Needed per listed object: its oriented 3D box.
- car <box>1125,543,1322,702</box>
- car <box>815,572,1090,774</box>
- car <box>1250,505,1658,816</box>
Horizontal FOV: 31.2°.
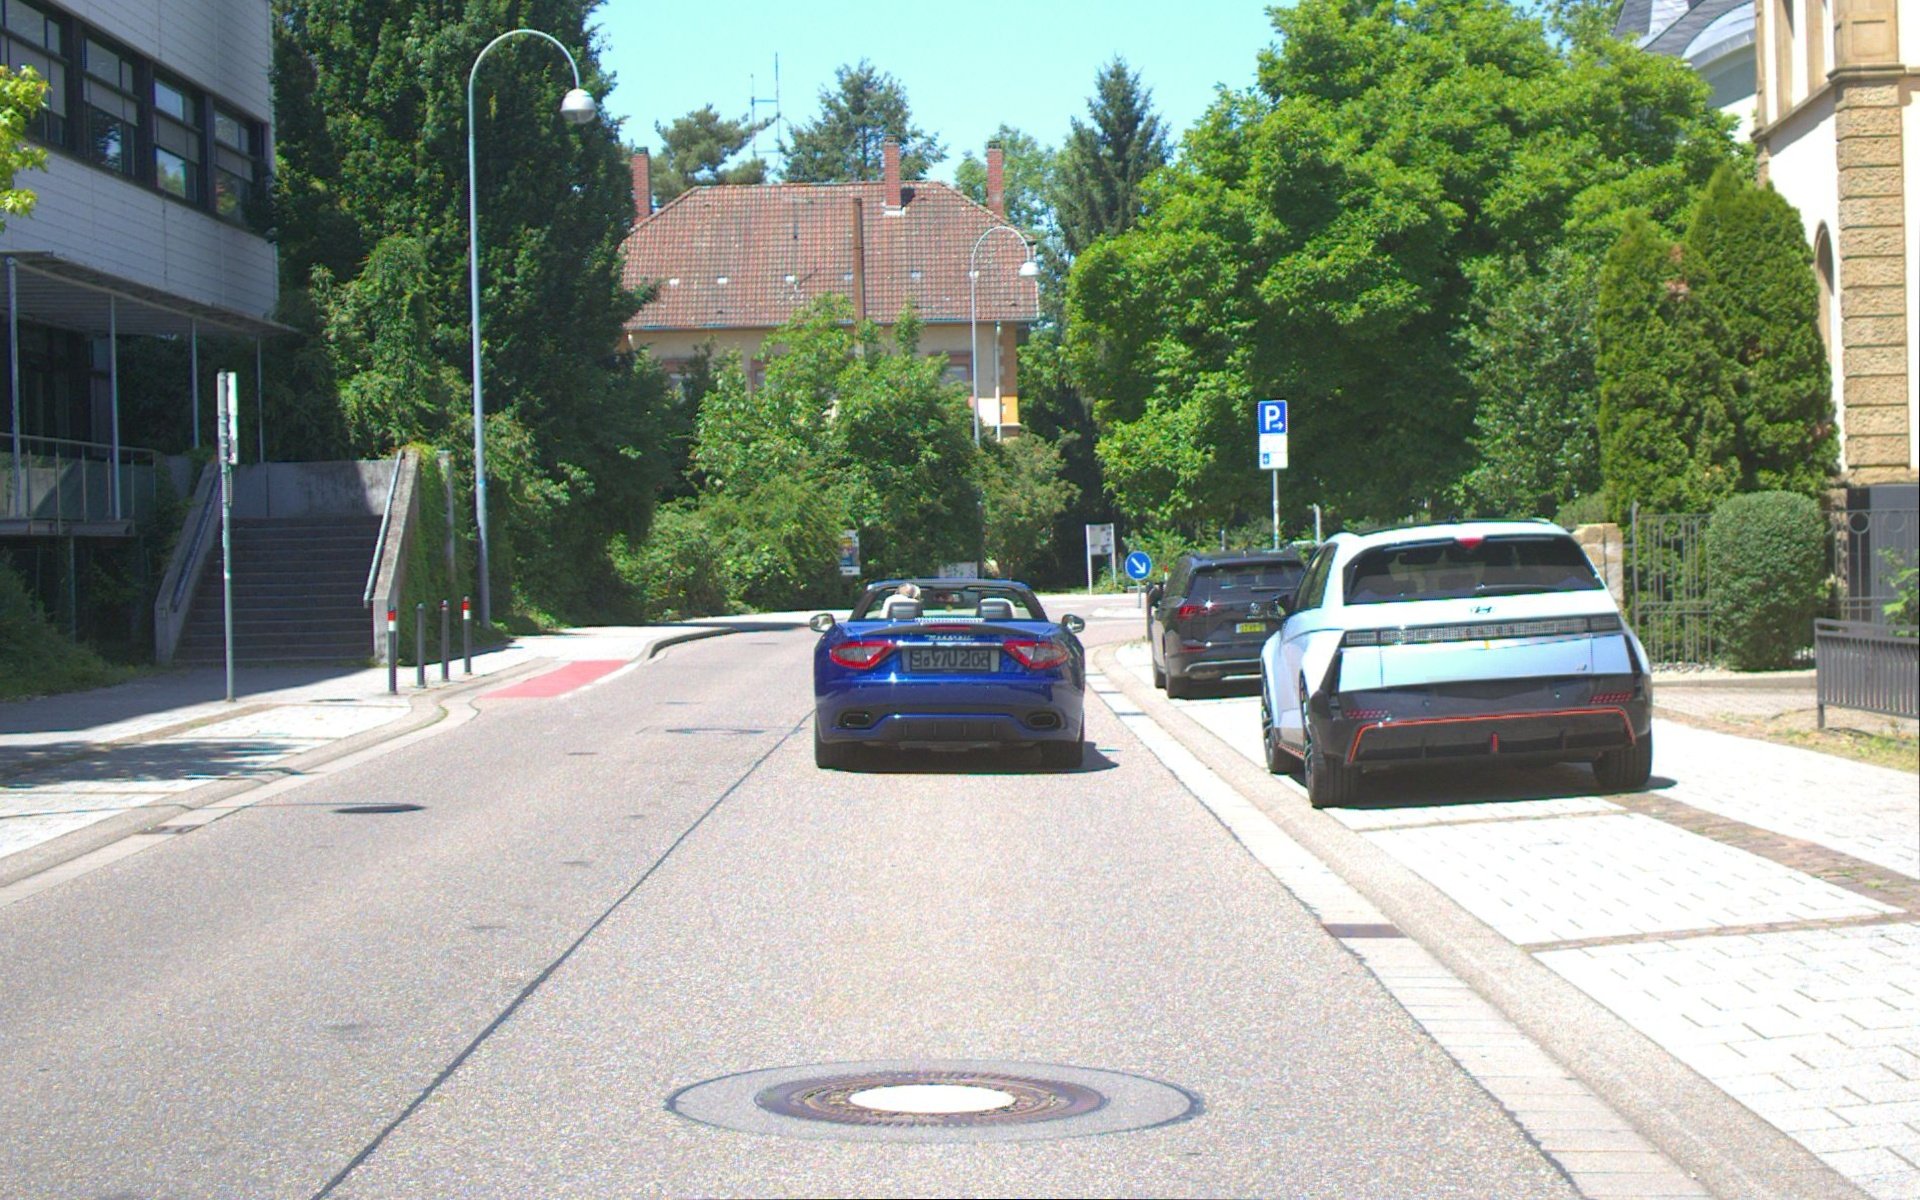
[{"bbox_3d":[2.667,0.178,35.652,1.631,1.441,4.398,-4,1,0],"label":"car"},{"bbox_3d":[-0.043,0.470,25.343,1.827,1.332,4.700,0,1,0],"label":"car"},{"bbox_3d":[2.901,0.296,21.088,1.843,1.614,4.427,-3,1,1],"label":"car"}]
